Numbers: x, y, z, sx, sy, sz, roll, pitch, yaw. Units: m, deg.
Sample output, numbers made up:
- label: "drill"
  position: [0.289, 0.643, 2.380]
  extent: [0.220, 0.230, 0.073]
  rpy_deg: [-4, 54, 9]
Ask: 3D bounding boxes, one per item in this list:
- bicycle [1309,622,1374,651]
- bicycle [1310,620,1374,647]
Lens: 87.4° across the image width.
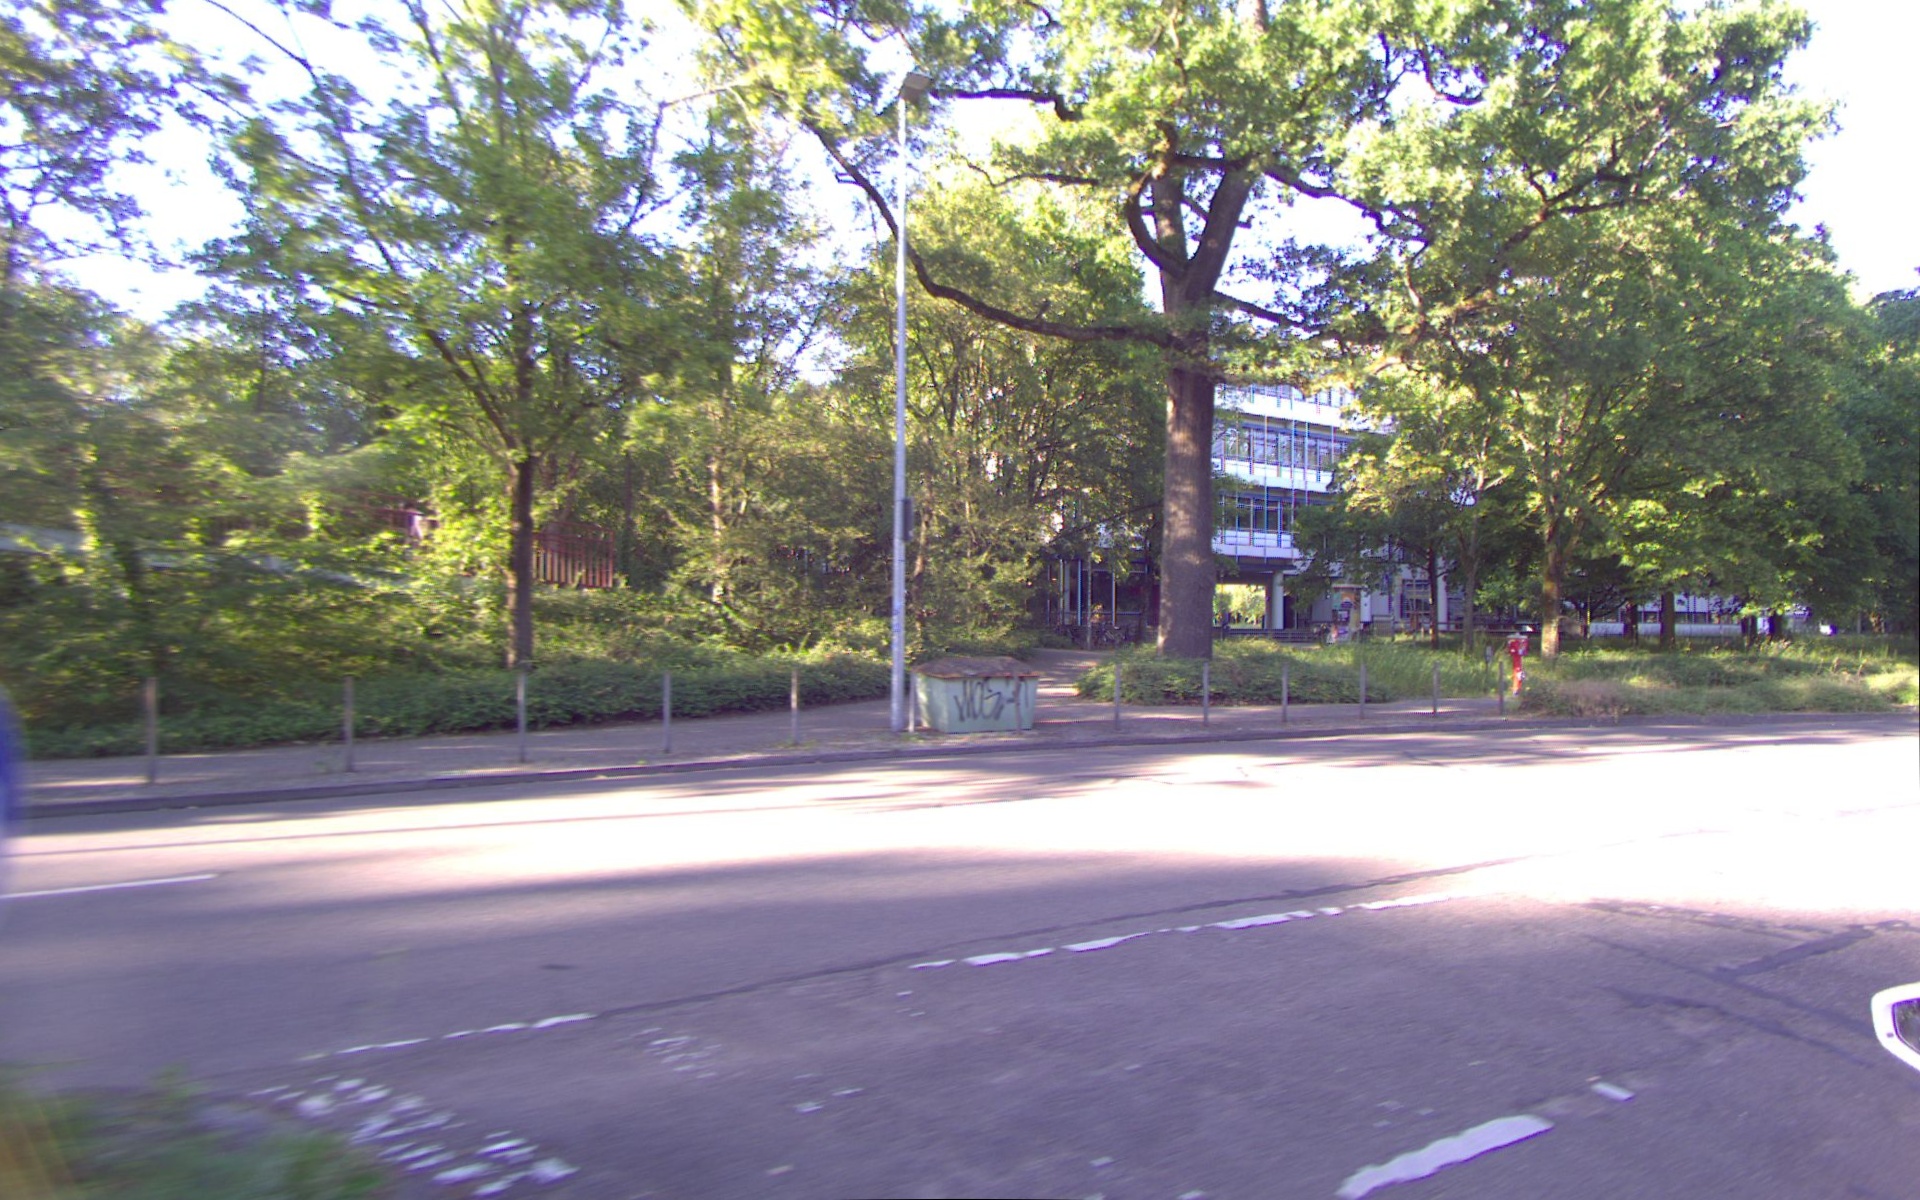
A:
- label: "bicycle"
  position: [15.545, 1.496, 40.979]
  extent: [2.380, 1.086, 0.537]
  rpy_deg: [1, 2, 10]
- label: "bicycle"
  position: [16.124, 1.410, 42.413]
  extent: [2.588, 1.086, 0.536]
  rpy_deg: [0, 4, -12]
